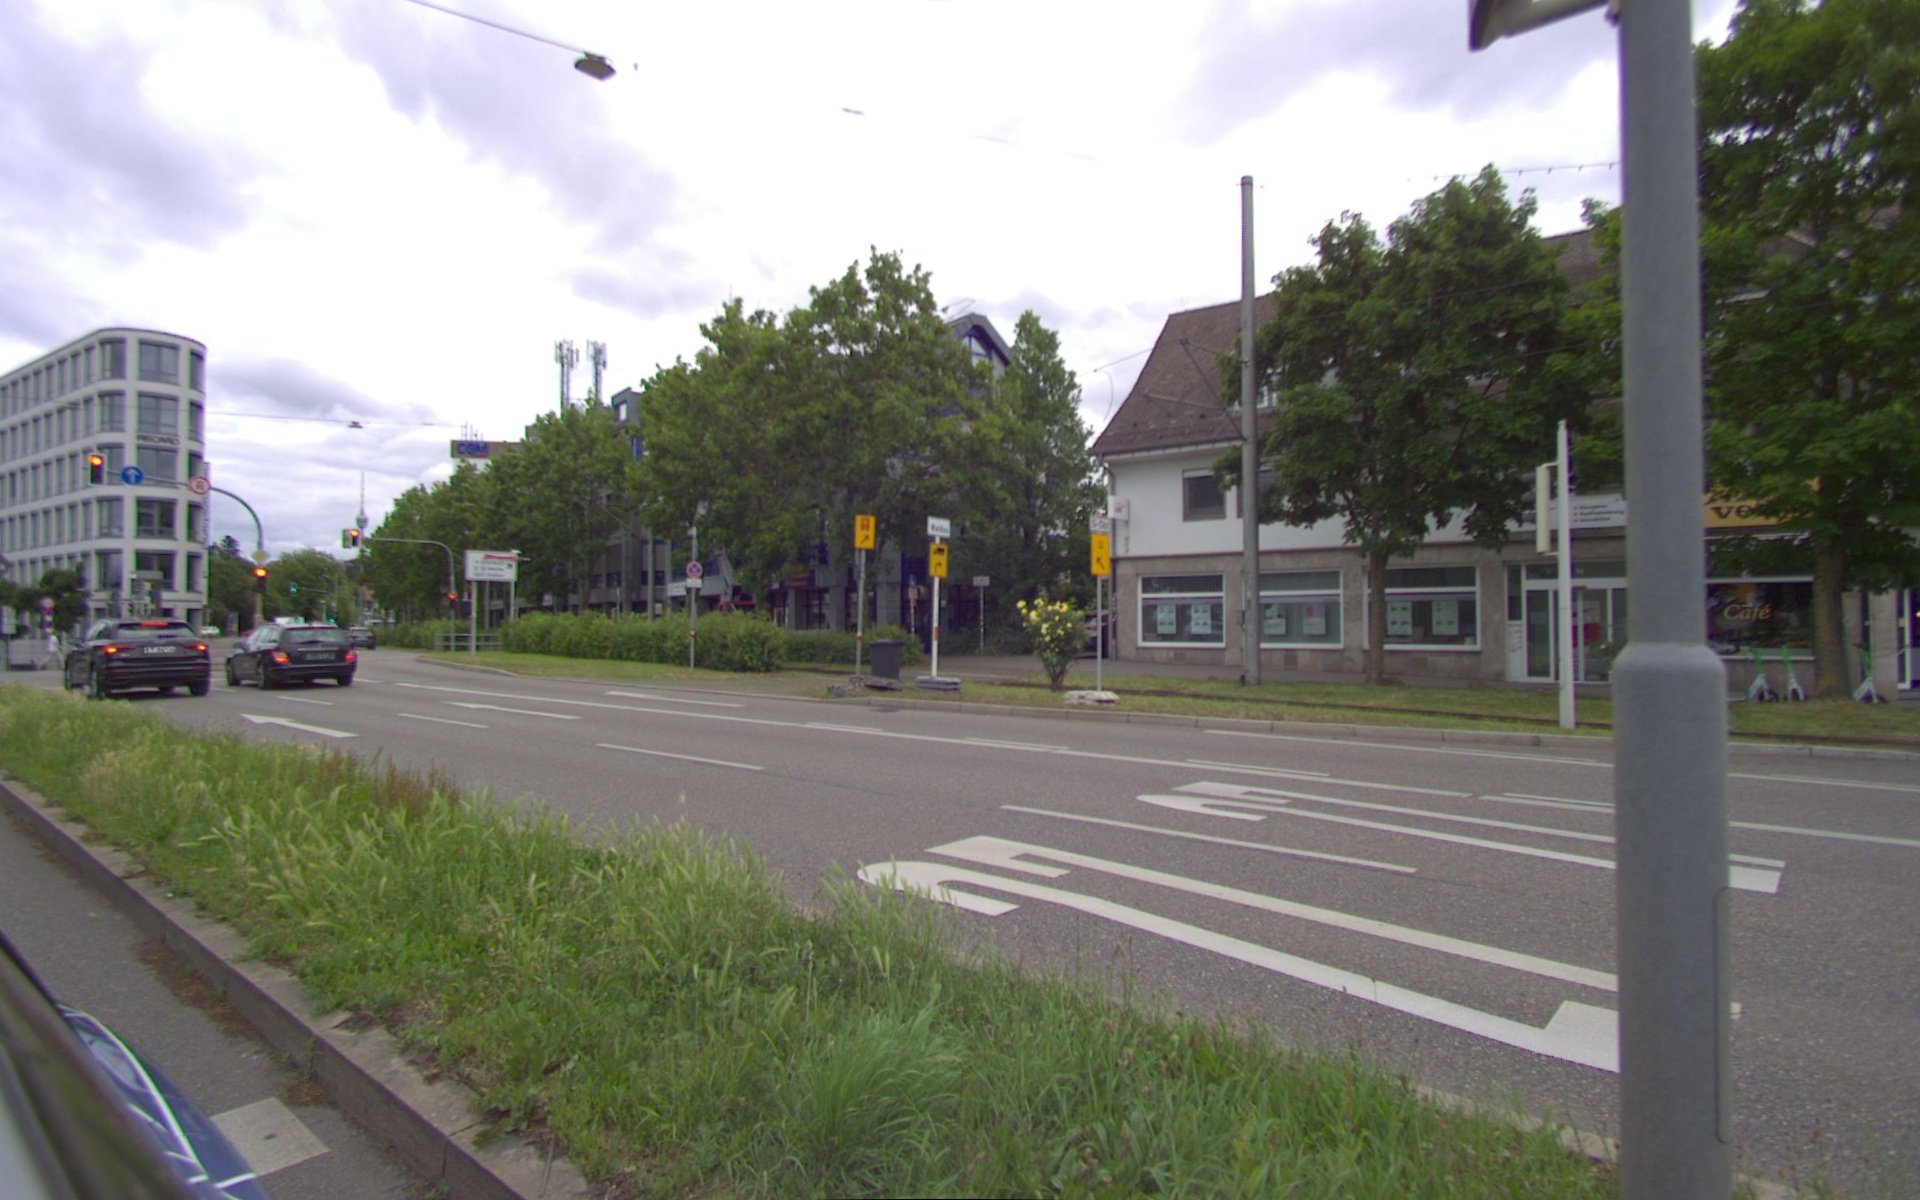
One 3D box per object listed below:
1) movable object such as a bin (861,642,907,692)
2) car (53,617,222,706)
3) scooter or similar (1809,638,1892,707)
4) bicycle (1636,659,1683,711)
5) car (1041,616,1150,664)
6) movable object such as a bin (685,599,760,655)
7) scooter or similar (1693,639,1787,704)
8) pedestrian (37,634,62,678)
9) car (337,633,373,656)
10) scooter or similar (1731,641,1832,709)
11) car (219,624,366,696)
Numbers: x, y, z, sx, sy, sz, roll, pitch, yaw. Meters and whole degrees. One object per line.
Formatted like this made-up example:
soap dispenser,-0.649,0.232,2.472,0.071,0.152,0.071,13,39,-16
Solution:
movable object such as a bin,-1.620,1.417,21.649,0.838,1.020,0.557,-2,-2,43
car,-16.745,1.224,20.530,4.392,1.576,1.869,-3,-2,40
scooter or similar,14.819,1.194,16.852,0.418,1.094,0.993,1,-2,-43
bicycle,11.704,1.406,16.931,0.424,0.811,1.244,-2,-2,45
car,4.588,1.300,33.775,1.856,1.436,3.952,-3,-2,37
movable object such as a bin,-11.272,1.272,47.897,1.880,2.551,4.135,1,-2,-38
scooter or similar,13.736,1.238,17.841,0.594,1.094,1.178,1,-2,-38
pedestrian,-41.119,2.521,45.713,0.744,1.932,0.589,1,-4,-39
car,-42.583,3.135,71.189,1.759,1.549,4.405,-1,-2,-37
scooter or similar,13.431,1.200,16.575,0.483,1.053,1.179,1,-2,-34
car,-15.329,1.351,23.153,4.394,1.436,1.764,-3,-2,42
